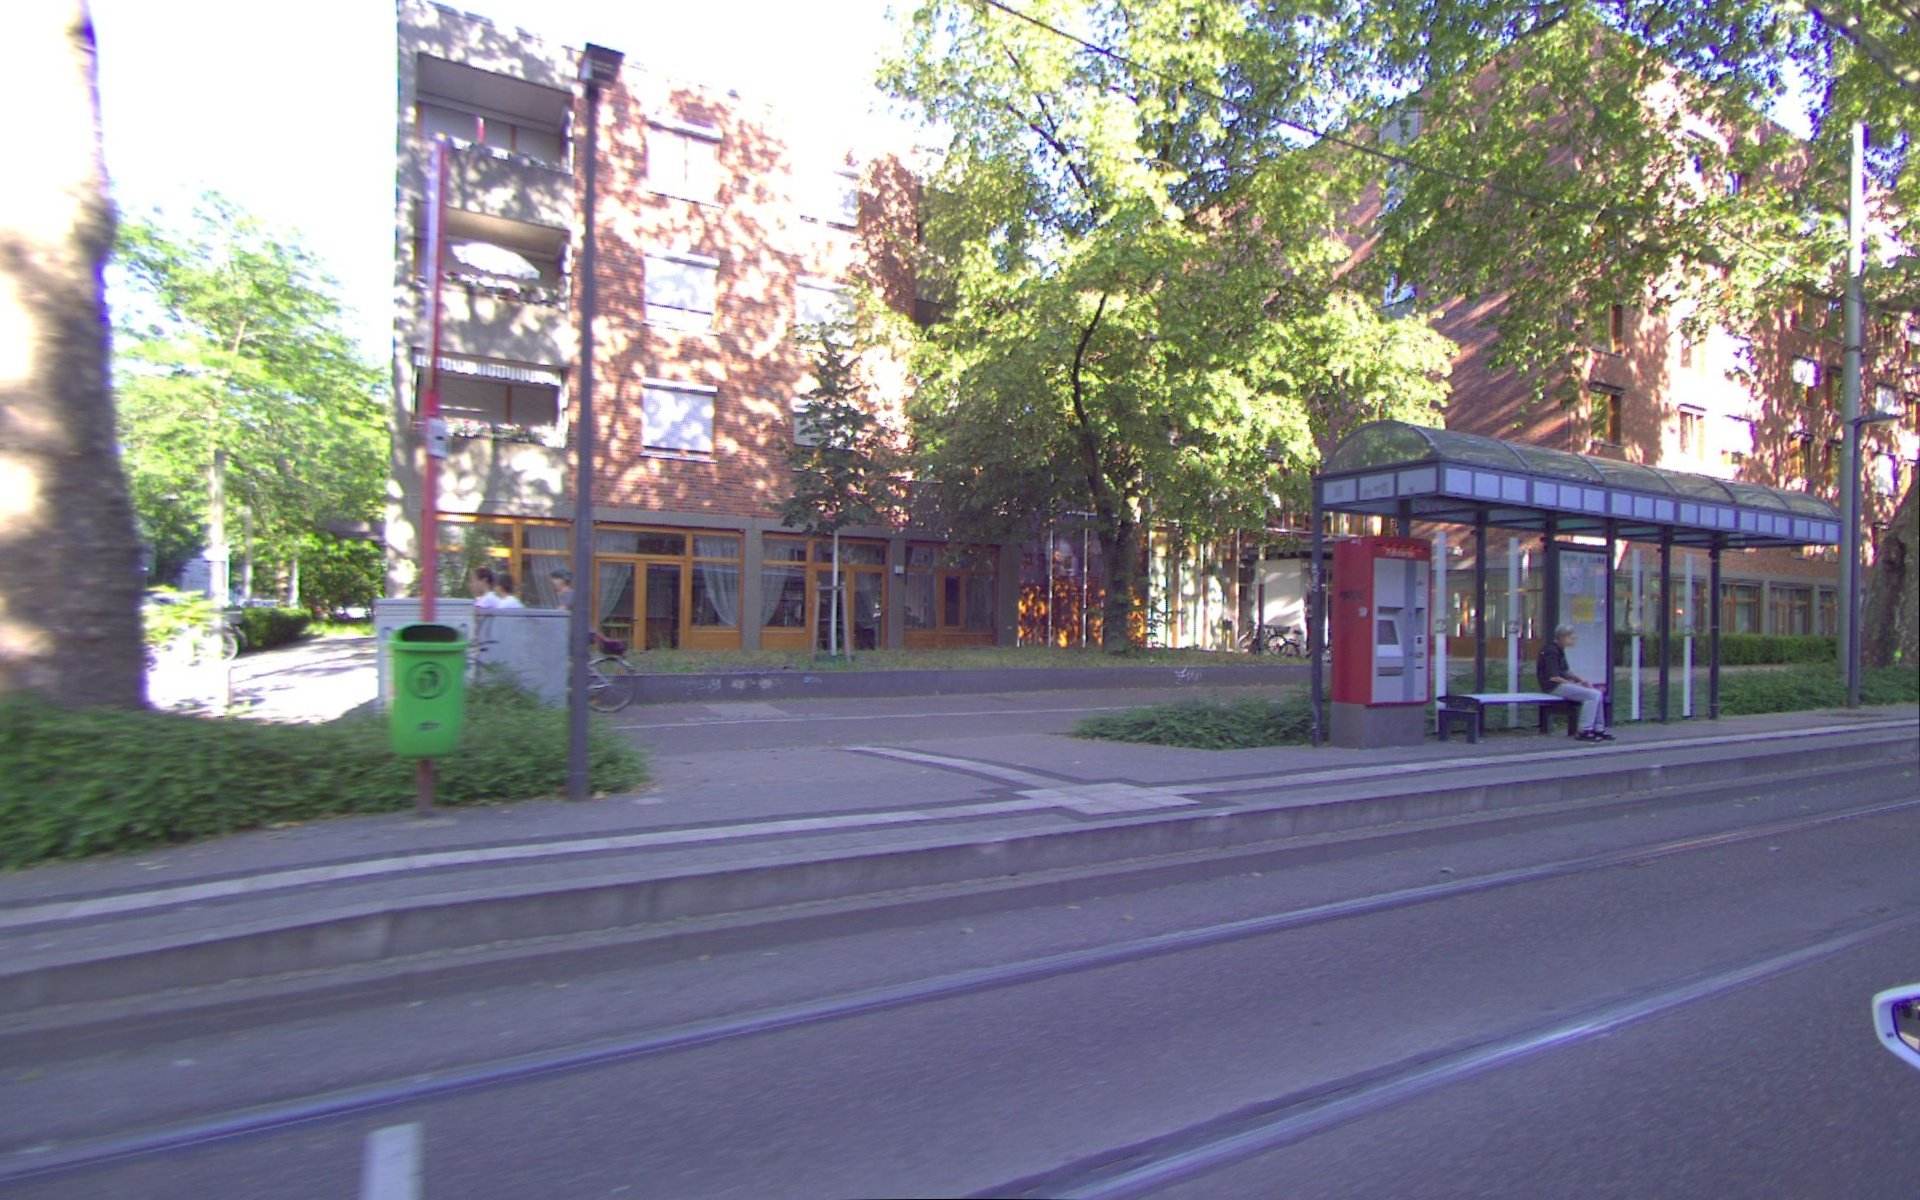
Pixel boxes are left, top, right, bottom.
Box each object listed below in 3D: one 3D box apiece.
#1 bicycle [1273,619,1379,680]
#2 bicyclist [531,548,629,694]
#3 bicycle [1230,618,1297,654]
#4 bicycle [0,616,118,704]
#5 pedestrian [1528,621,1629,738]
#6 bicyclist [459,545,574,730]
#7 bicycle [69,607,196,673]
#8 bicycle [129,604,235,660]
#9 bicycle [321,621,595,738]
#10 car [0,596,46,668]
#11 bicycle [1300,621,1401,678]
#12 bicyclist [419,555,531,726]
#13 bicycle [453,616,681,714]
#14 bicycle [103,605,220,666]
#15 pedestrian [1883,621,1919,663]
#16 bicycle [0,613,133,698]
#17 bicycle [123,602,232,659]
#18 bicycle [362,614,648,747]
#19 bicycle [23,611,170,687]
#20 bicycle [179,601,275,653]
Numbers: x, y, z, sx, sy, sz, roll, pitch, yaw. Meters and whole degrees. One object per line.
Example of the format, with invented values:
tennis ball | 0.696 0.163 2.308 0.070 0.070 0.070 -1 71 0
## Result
bicycle | 8.470 1.118 23.372 0.673 1.235 2.447 2 1 -28
bicyclist | -4.835 0.268 12.780 0.987 1.773 0.770 2 0 -32
bicycle | 9.860 1.168 32.656 0.760 1.087 1.920 2 0 -45
bicycle | -12.253 0.790 13.354 1.519 1.099 0.538 -1 2 -31
pedestrian | 6.572 0.822 10.680 0.652 1.184 0.701 2 -2 -32
bicyclist | -4.553 0.374 10.302 0.940 1.786 0.778 2 0 -32
bicycle | -14.355 0.684 17.475 1.620 1.098 0.538 0 0 -31
bicycle | -15.919 0.667 20.596 1.620 1.098 0.538 2 0 -31
bicycle | -5.391 0.827 10.911 2.568 1.125 0.778 2 0 -33
car | -24.663 0.744 25.087 1.846 1.684 3.968 2 0 -30
bicycle | 9.148 1.146 23.646 0.673 1.182 2.330 2 0 -28
bicyclist | -5.296 0.428 10.956 0.986 1.773 0.770 2 0 -32
bicycle | -4.941 0.800 12.727 2.568 1.125 0.778 2 0 -33
bicycle | -14.914 0.663 18.801 1.620 1.098 0.538 2 0 -31
pedestrian | 37.327 1.659 39.862 0.935 1.626 0.771 2 0 -29
bicycle | -12.558 0.750 13.899 1.620 1.099 0.538 -1 1 -31
bicycle | -15.529 0.617 19.987 1.620 1.098 0.538 2 0 -31
bicycle | -4.603 0.787 10.272 2.568 1.207 0.778 2 0 -33
bicycle | -13.238 0.729 15.452 1.620 1.099 0.538 0 1 -31
bicycle | -15.908 0.595 21.849 1.620 1.098 0.538 2 0 -31
